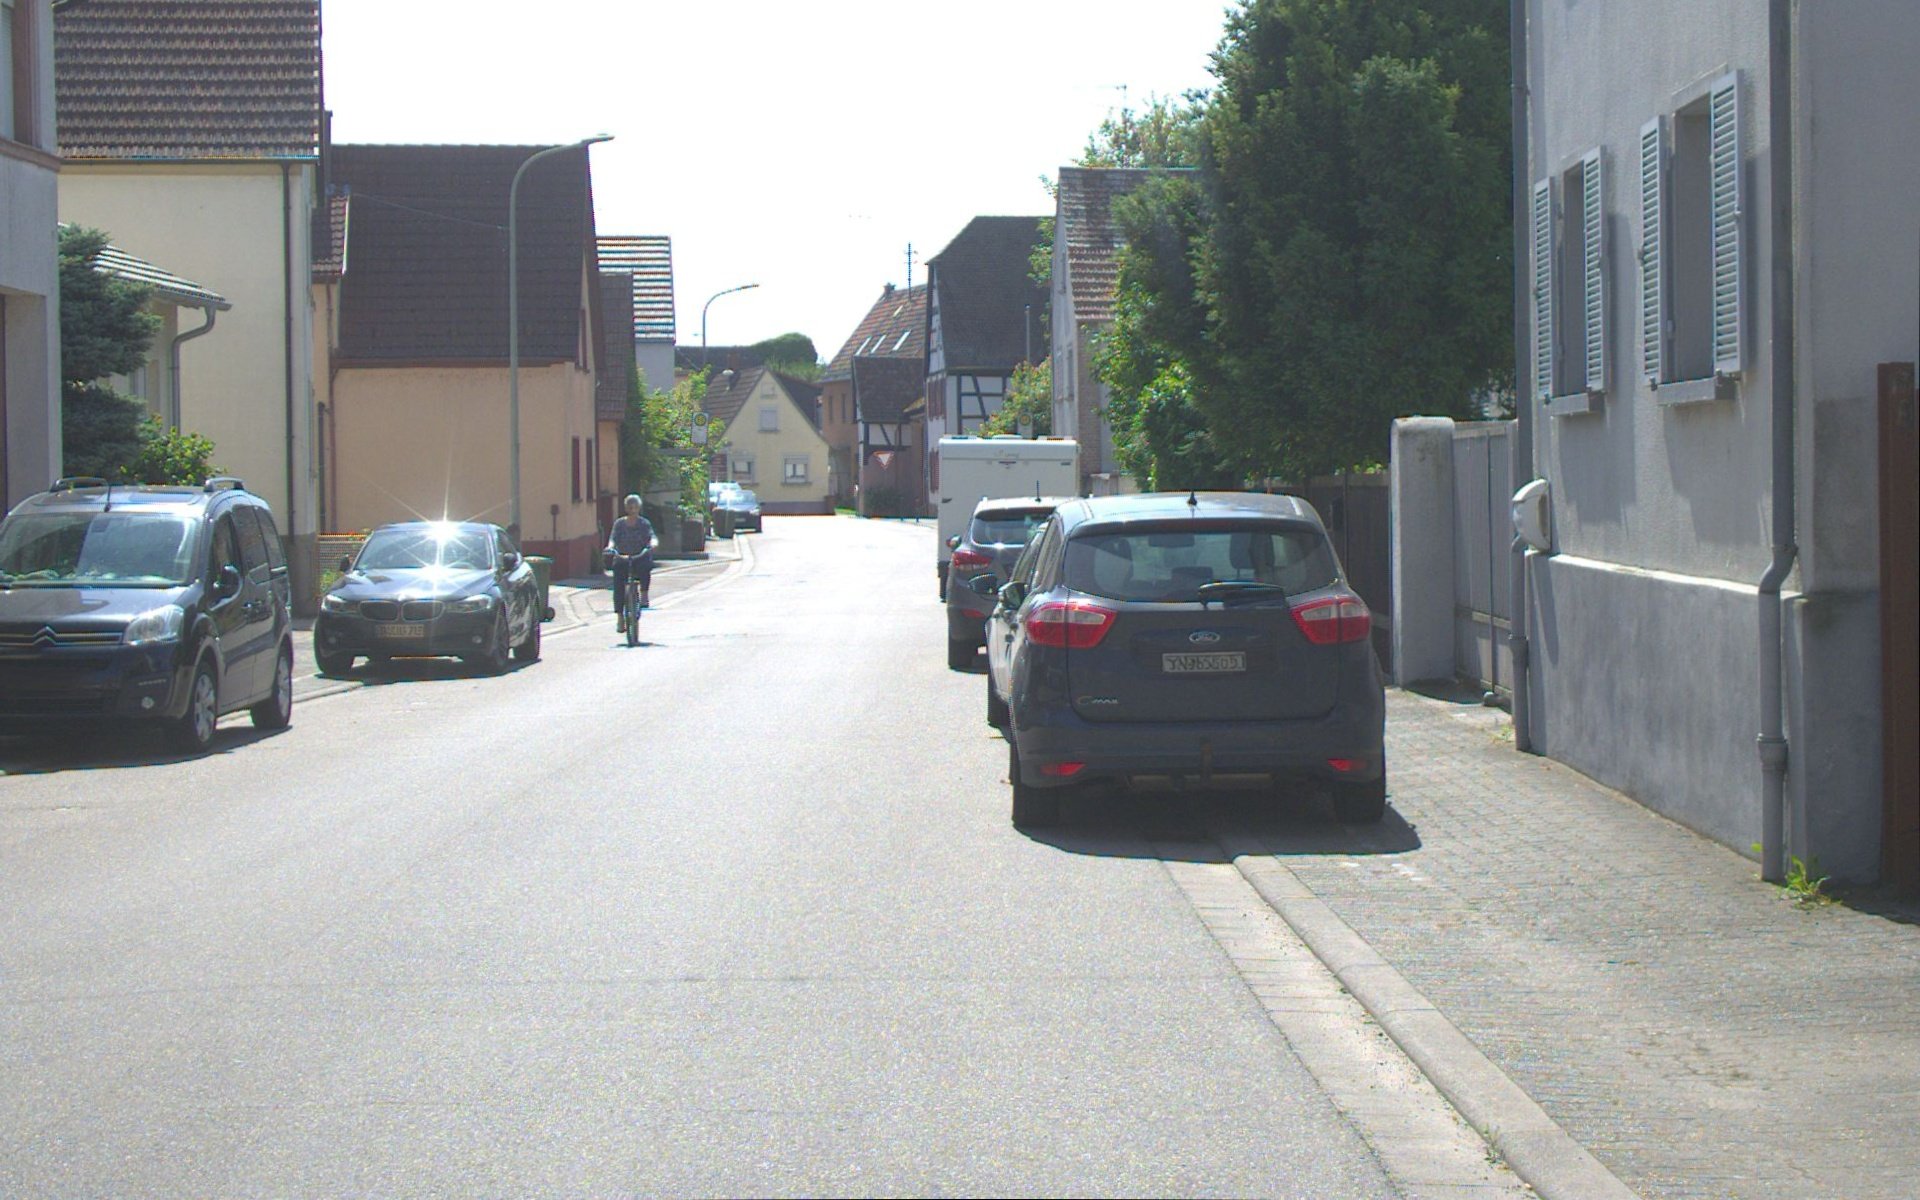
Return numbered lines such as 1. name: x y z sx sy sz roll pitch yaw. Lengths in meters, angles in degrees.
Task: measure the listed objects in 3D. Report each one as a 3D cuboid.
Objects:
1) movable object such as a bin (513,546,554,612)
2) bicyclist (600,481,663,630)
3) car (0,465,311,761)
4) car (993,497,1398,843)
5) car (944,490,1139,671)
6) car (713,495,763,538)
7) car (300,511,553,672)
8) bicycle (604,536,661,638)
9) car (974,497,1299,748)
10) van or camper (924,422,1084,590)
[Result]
1. movable object such as a bin: -6.284 -0.314 50.662 0.539 0.946 0.553 0 2 -1
2. bicyclist: -3.931 -0.535 41.173 0.703 1.764 0.625 -1 1 -4
3. car: -5.851 0.020 23.773 1.834 1.831 4.354 -2 2 0
4. car: 1.100 0.252 18.034 1.797 1.555 4.632 -1 2 0
5. car: 0.867 -0.252 34.298 1.794 1.625 4.361 -1 2 3
6. car: -7.763 -2.935 120.444 1.511 1.431 3.512 -2 2 -1
7. car: -5.438 -0.140 35.590 1.844 1.521 4.766 -1 2 0
8. bicycle: -3.885 -0.174 40.875 0.589 1.144 1.949 -2 2 -4
9. car: 1.090 0.070 23.311 1.819 1.503 4.582 -1 2 -2
10. van or camper: 0.692 -1.599 58.334 2.521 2.687 4.556 -1 2 -1
